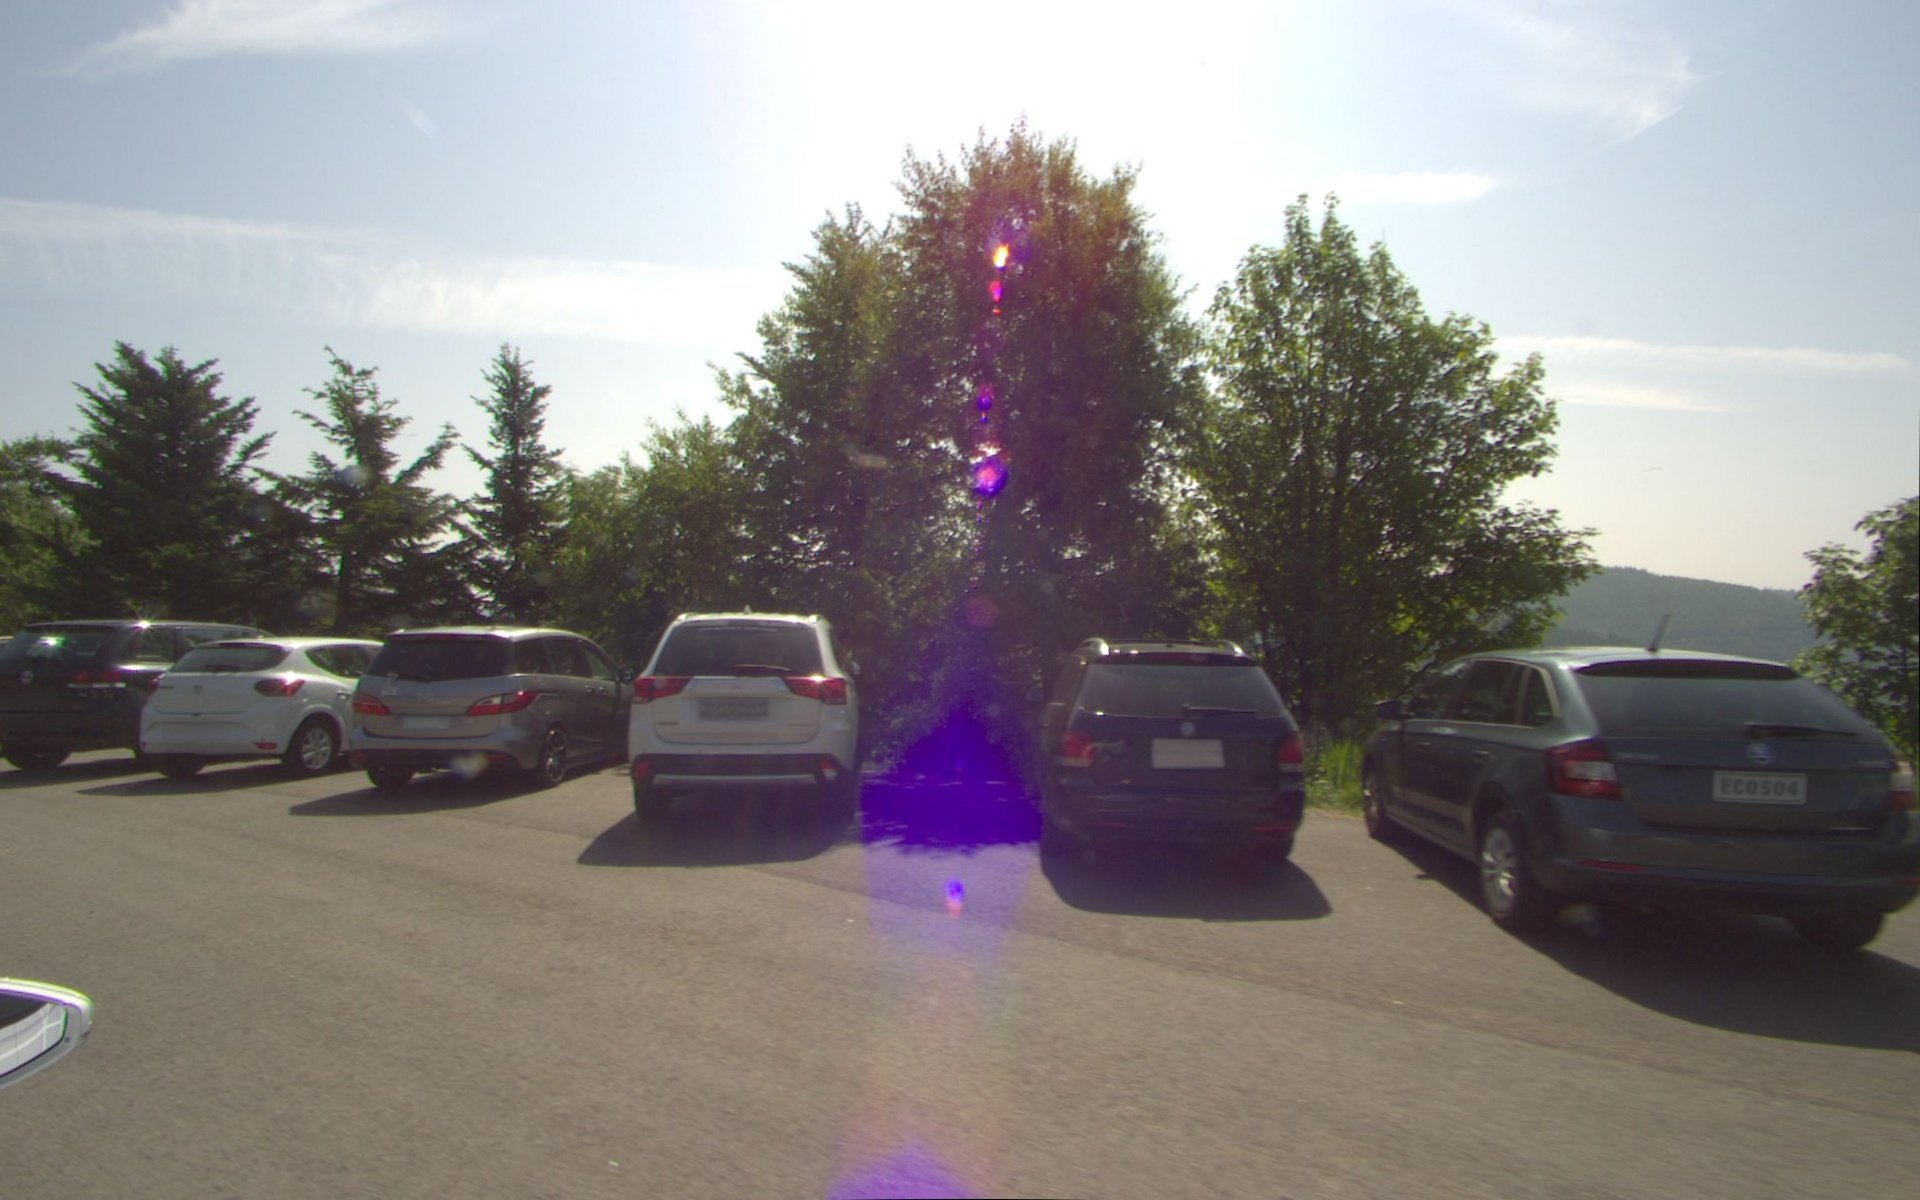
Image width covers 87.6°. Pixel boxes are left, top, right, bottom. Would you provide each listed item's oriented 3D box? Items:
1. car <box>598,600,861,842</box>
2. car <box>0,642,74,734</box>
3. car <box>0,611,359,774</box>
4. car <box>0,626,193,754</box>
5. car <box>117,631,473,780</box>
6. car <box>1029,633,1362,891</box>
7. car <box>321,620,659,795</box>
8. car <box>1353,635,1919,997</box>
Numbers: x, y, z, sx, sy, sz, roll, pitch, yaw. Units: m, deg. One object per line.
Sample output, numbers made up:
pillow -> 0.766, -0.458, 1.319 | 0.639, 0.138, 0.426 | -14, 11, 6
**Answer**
car -> -1.862, 0.958, 9.310 | 1.828, 1.716, 4.228 | 1, -2, -6
car -> -15.760, 1.308, 14.716 | 1.710, 1.432, 4.003 | 0, -3, 4
car -> -9.940, 1.100, 12.795 | 1.952, 1.715, 4.277 | 1, -3, -1
car -> -13.161, 1.212, 14.130 | 1.828, 1.609, 4.002 | 1, -3, -6
car -> -7.680, 1.178, 12.121 | 1.733, 1.494, 4.003 | 0, -3, -2
car -> 1.521, 1.059, 7.918 | 1.858, 1.479, 4.055 | 0, -3, 3
car -> -4.857, 1.084, 11.077 | 1.785, 1.568, 4.003 | 1, -3, 1
car -> 3.717, 1.006, 6.146 | 1.631, 1.477, 3.808 | 1, -3, 9
